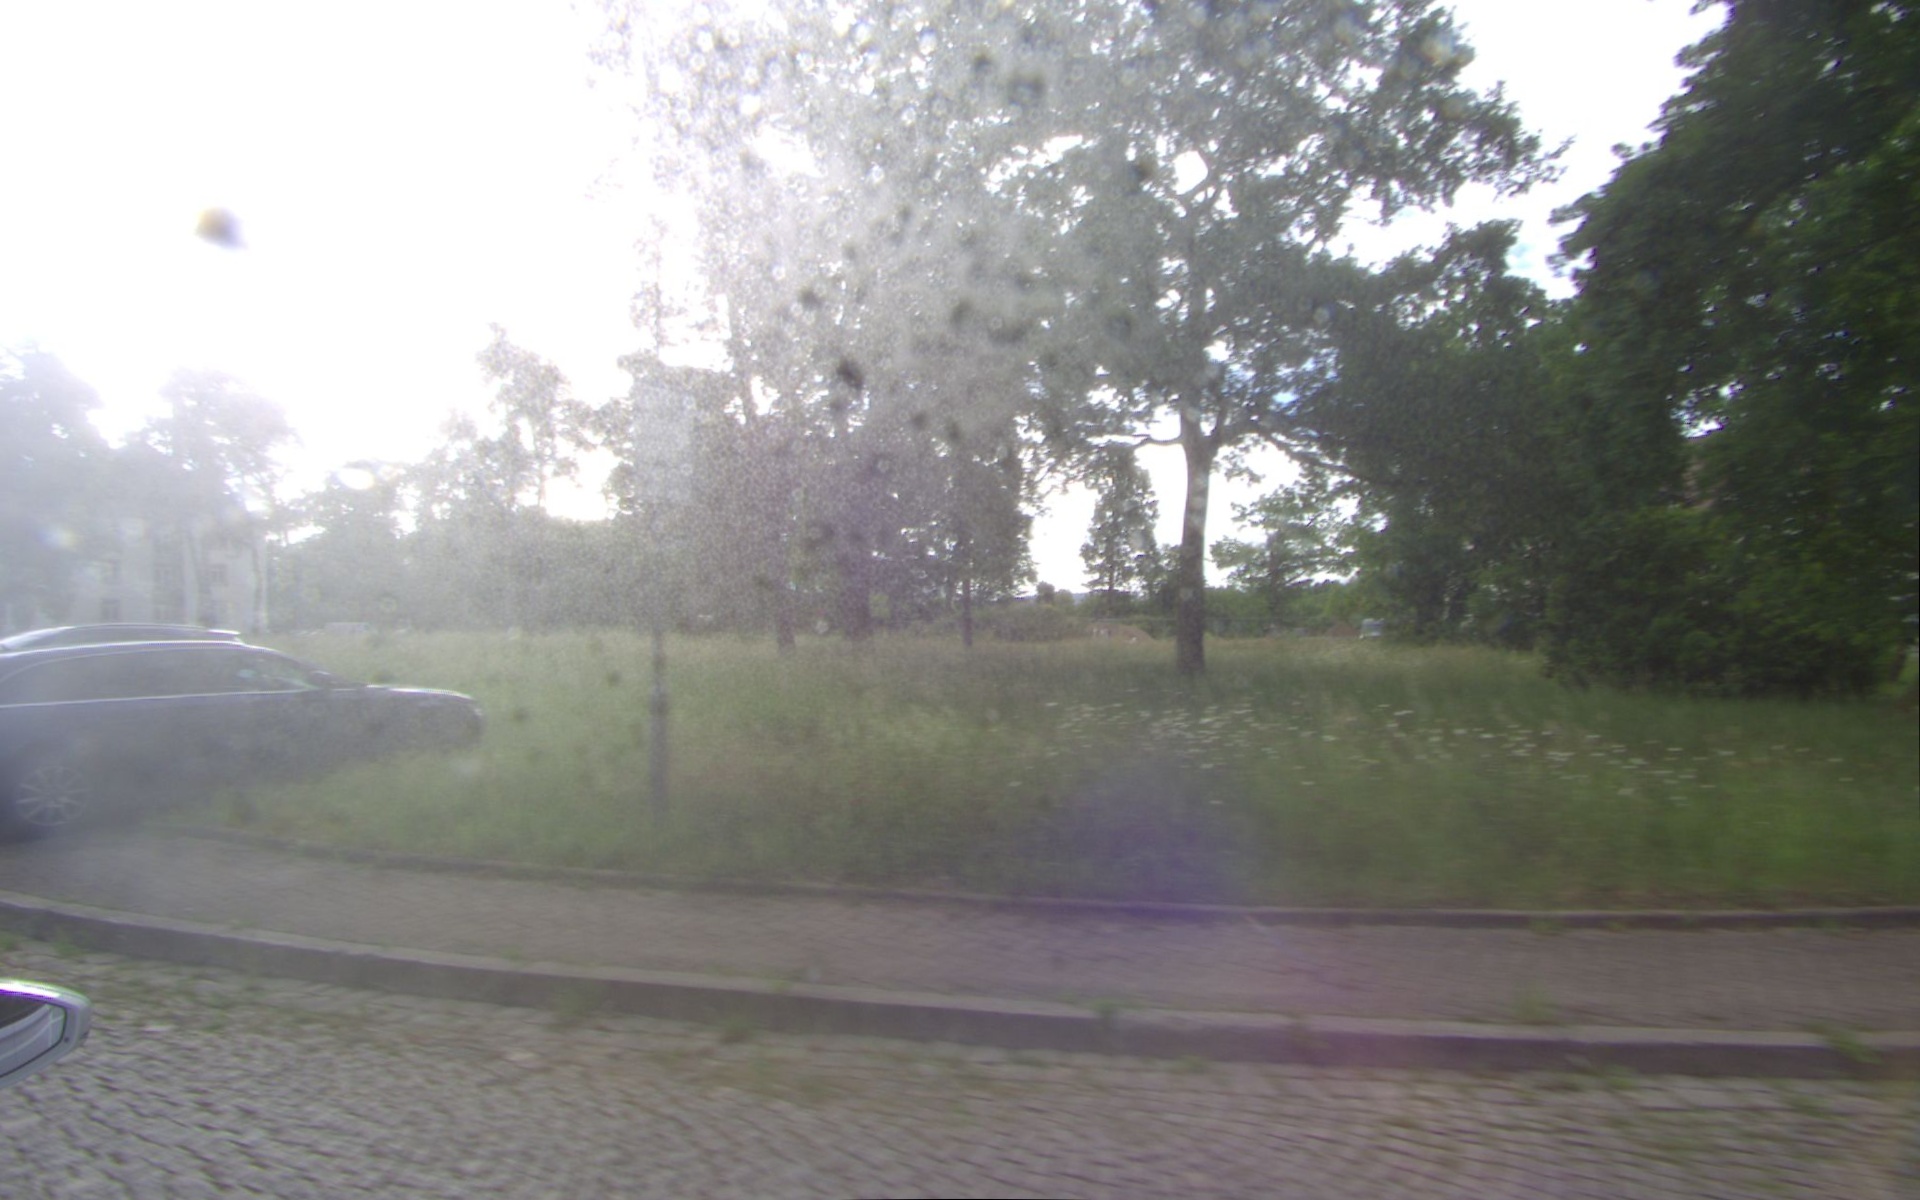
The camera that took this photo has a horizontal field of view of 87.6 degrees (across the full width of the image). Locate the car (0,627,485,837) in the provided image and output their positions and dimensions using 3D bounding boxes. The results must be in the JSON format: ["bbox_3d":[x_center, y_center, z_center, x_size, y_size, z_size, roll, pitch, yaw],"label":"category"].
[{"bbox_3d":[-6.879,1.011,9.029,1.901,1.458,4.344,0,-1,36],"label":"car"}]

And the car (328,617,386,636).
[{"bbox_3d":[-68.684,3.041,114.121,2.077,2.044,5.289,-1,-3,34],"label":"car"}]

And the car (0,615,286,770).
[{"bbox_3d":[-10.685,1.009,11.751,1.859,1.644,4.237,0,-1,32],"label":"car"}]

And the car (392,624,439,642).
[{"bbox_3d":[-59.291,3.615,109.136,1.875,1.826,4.123,-1,-3,36],"label":"car"}]

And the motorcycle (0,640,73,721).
[{"bbox_3d":[-15.152,1.256,15.383,0.560,1.217,2.226,0,0,31],"label":"motorcycle"}]

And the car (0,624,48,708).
[{"bbox_3d":[-18.951,1.205,17.671,1.759,1.516,3.916,0,-1,32],"label":"car"}]

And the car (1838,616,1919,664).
[{"bbox_3d":[46.604,1.959,49.259,4.872,2.334,1.913,-1,-1,34],"label":"car"}]
